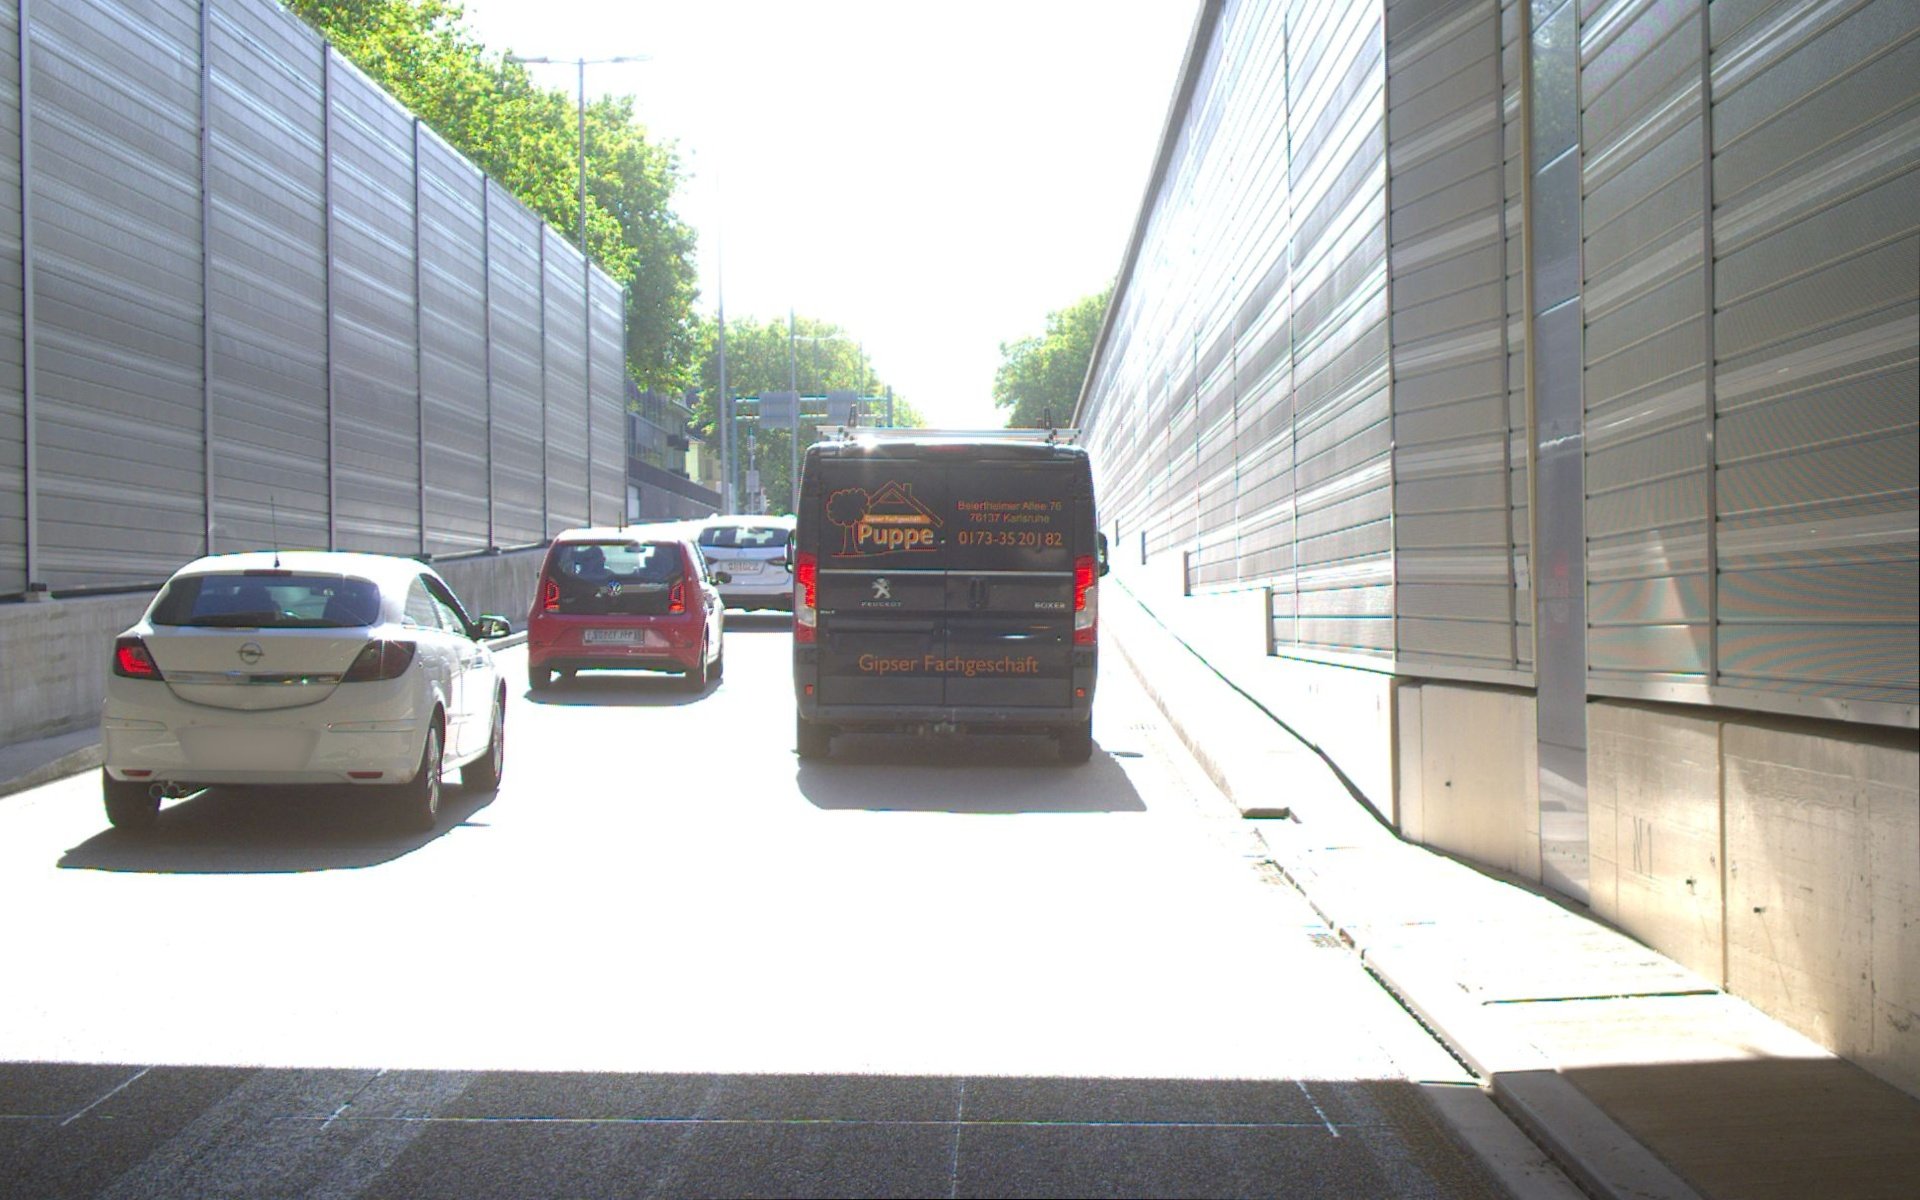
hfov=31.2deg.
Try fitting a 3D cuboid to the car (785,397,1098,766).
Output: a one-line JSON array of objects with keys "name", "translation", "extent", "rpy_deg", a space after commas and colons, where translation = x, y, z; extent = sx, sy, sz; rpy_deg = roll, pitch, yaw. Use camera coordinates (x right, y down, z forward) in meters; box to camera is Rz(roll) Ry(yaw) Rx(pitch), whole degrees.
[{"name": "car", "translation": [-0.087, -0.177, 24.337], "extent": [2.030, 2.394, 3.973], "rpy_deg": [0, 2, 1]}]

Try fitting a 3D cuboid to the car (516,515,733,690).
[{"name": "car", "translation": [-3.098, -0.021, 32.280], "extent": [1.689, 1.478, 3.319], "rpy_deg": [1, 3, 0]}]

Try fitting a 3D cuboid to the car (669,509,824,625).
[{"name": "car", "translation": [-2.904, -0.484, 47.422], "extent": [1.892, 1.469, 3.991], "rpy_deg": [1, 2, 0]}]

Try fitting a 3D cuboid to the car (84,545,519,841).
[{"name": "car", "translation": [-3.514, 0.429, 18.983], "extent": [1.619, 1.398, 3.852], "rpy_deg": [1, 2, 1]}]
